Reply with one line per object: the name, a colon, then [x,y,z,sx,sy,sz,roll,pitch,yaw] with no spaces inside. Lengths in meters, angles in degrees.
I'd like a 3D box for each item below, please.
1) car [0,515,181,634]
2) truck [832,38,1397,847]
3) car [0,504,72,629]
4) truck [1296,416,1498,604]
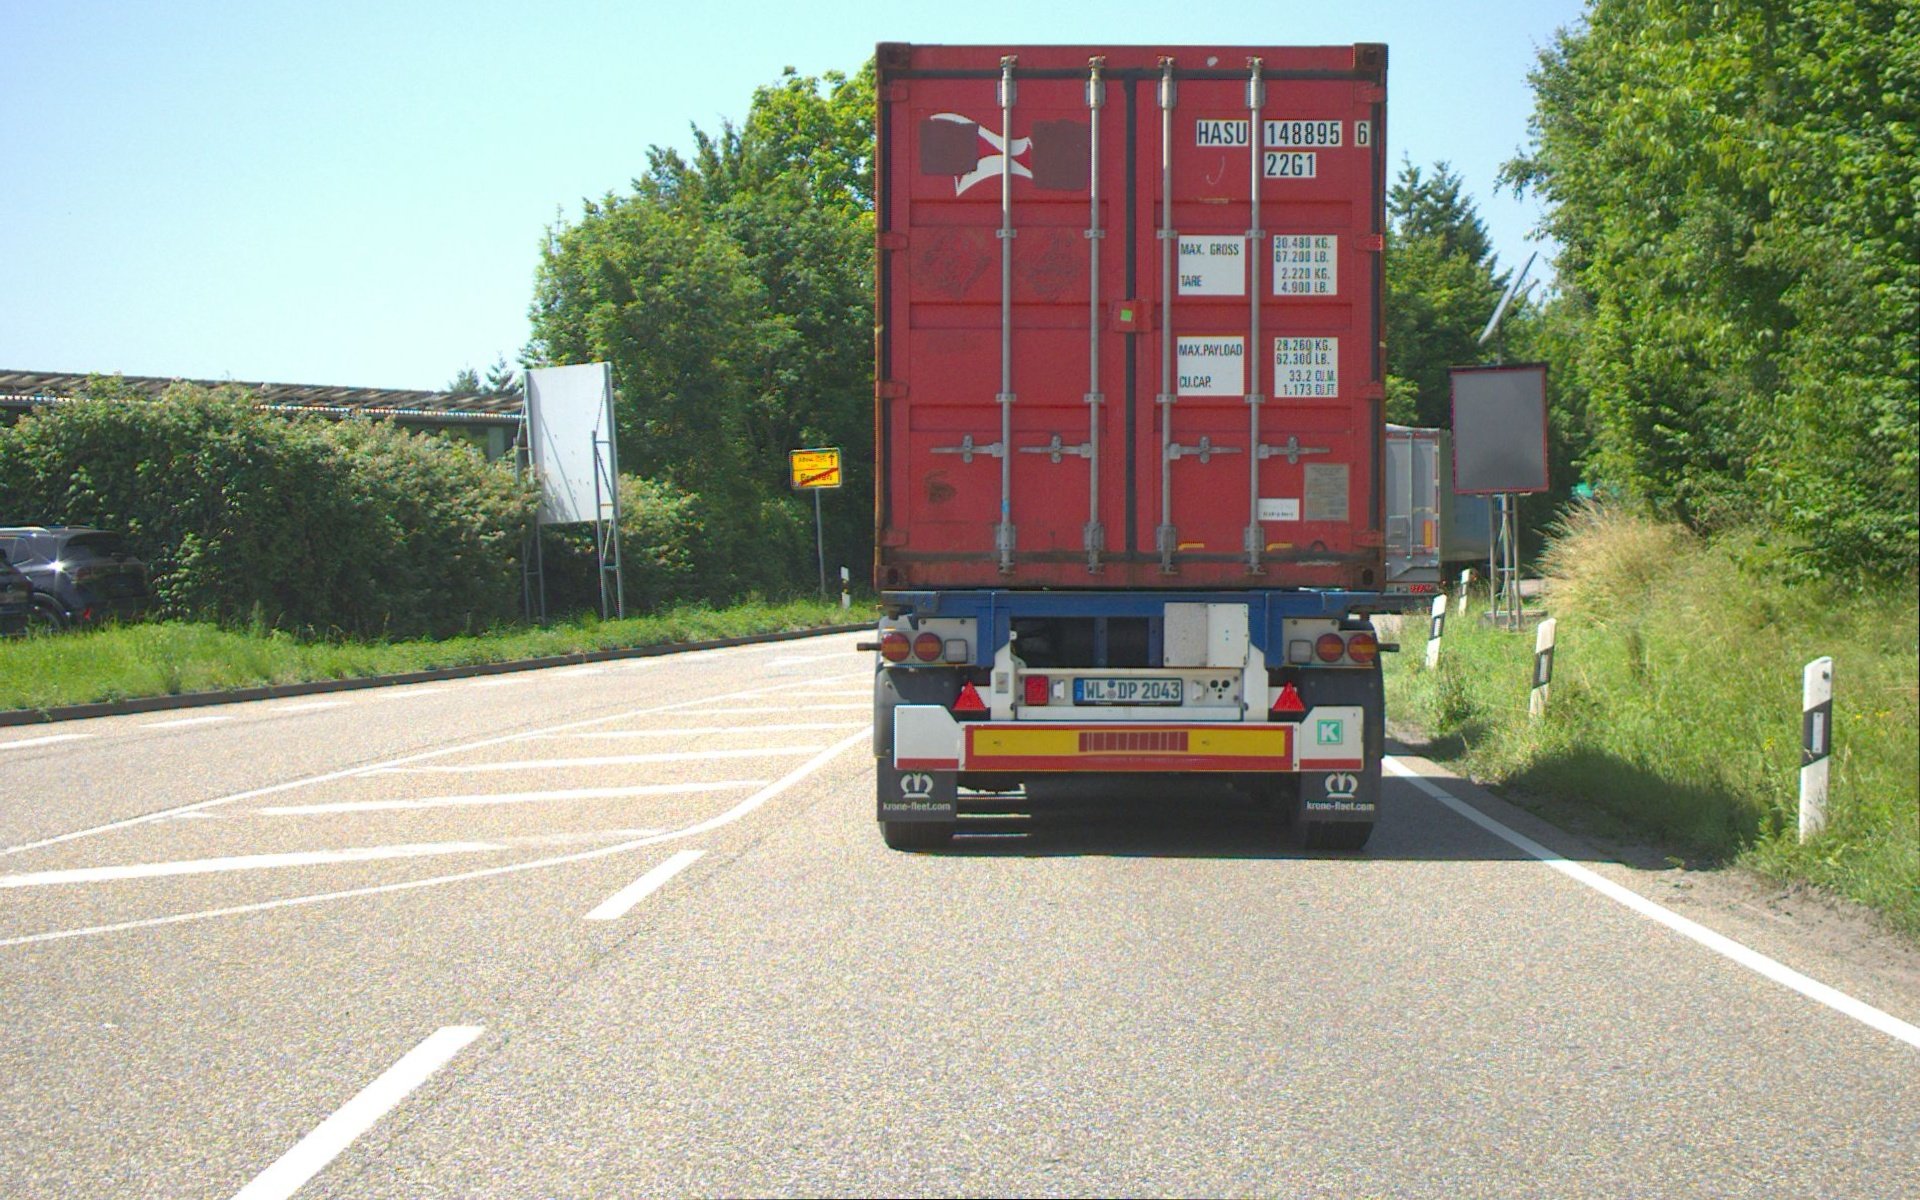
car: [-11.382,-0.328,40.956,3.699,1.368,1.802,1,1,17]
truck: [0.740,-0.846,22.823,2.647,3.793,13.360,0,1,0]
car: [-12.323,-0.264,38.810,3.989,1.357,1.819,-3,1,14]
truck: [9.926,-2.030,76.651,2.923,3.704,13.352,-2,1,13]
